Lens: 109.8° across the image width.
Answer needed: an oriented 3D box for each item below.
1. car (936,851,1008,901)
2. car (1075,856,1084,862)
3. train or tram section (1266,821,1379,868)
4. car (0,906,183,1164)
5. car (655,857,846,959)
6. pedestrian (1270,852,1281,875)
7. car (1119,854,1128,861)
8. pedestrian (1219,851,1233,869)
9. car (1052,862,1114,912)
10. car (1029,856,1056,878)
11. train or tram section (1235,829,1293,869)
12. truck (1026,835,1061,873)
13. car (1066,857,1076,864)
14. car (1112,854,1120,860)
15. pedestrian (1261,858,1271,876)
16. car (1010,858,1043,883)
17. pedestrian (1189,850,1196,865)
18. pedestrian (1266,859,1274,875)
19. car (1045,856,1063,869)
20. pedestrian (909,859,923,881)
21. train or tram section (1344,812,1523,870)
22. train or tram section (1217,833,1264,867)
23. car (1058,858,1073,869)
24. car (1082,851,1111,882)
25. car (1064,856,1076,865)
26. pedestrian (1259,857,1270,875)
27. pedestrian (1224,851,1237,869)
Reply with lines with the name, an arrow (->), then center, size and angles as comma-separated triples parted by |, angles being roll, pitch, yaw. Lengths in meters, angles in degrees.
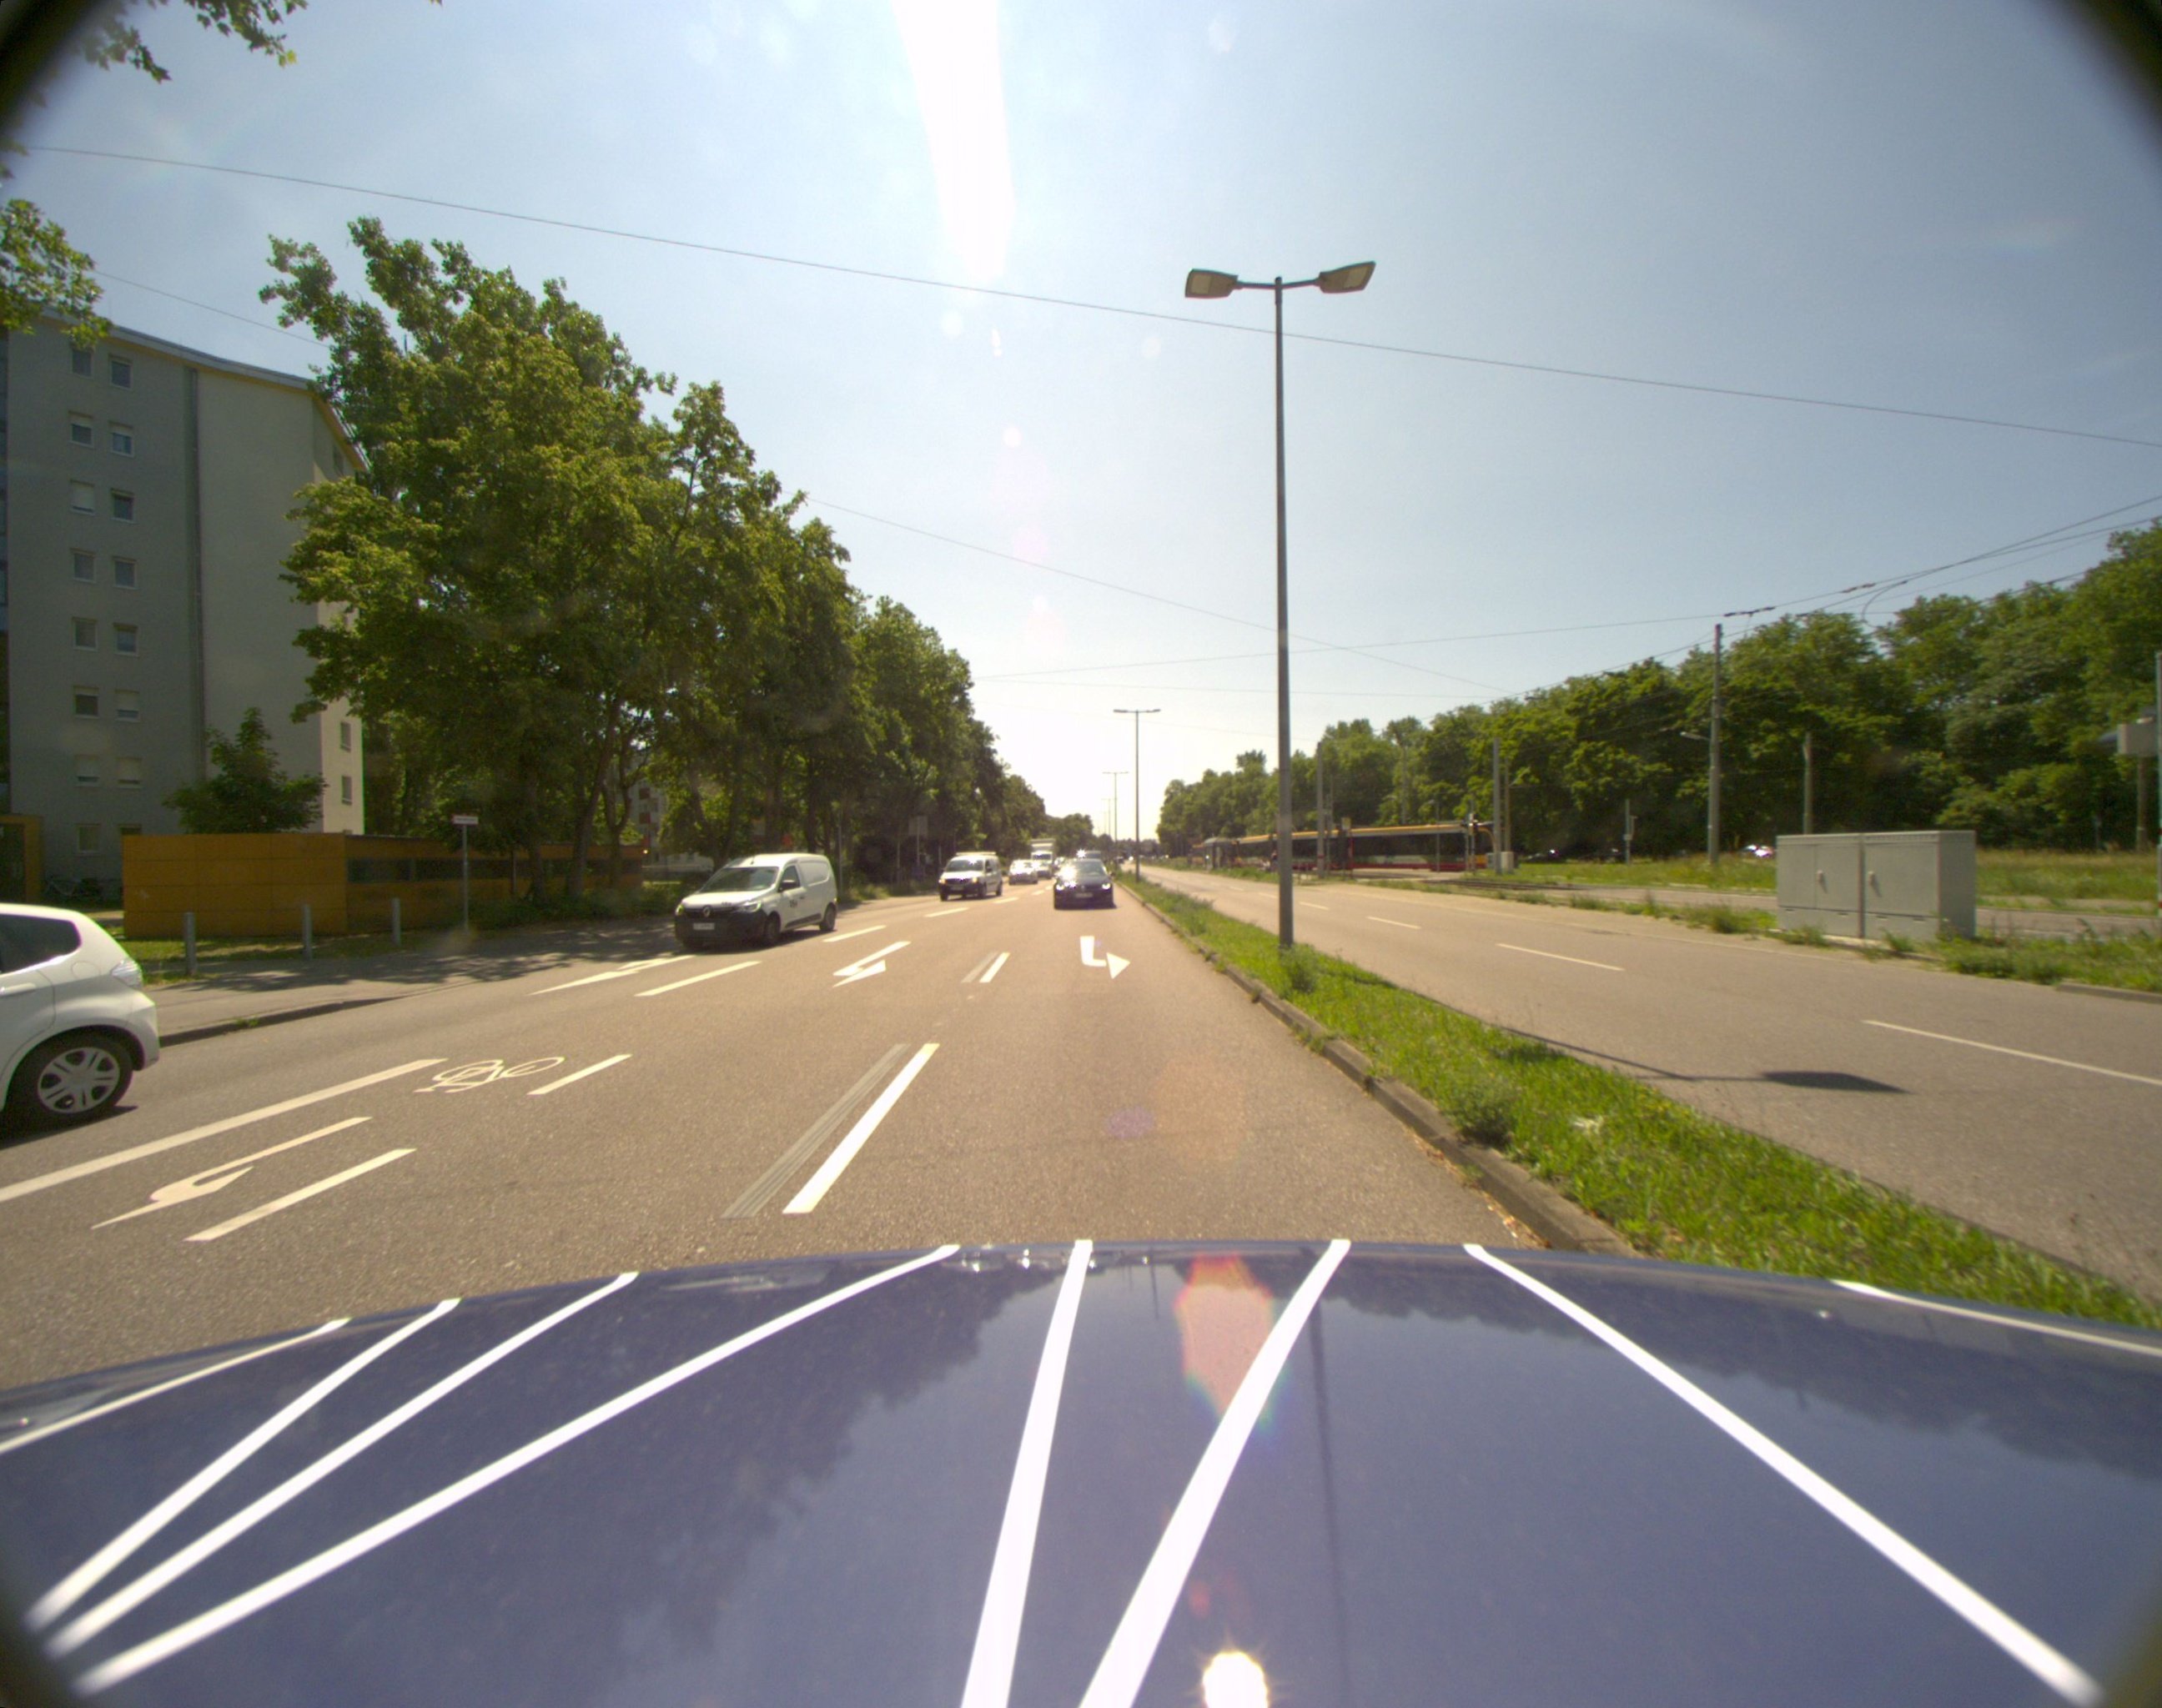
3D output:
car -> -4.400, 0.839, 31.492 | 1.809, 1.845, 5.084 | -3, 0, 5
car -> -0.354, 1.284, 186.964 | 1.745, 1.382, 3.888 | -1, 0, 4
train or tram section -> 20.591, -0.655, 66.049 | 3.055, 3.603, 12.436 | -3, 0, -15
car -> -7.337, 1.149, 3.509 | 1.725, 1.479, 3.878 | -3, 0, -1
car -> -6.577, 0.969, 15.747 | 1.713, 1.737, 4.428 | -3, 0, 4
pedestrian -> 13.004, 0.626, 50.809 | 0.536, 1.556, 0.582 | -3, 0, -1
car -> 8.911, 0.698, 160.834 | 1.773, 1.496, 3.720 | -1, 0, 1
pedestrian -> 12.923, 0.545, 67.640 | 0.933, 1.537, 0.985 | -3, 0, -2
car -> 0.094, 0.962, 23.601 | 1.746, 1.382, 3.887 | 0, 0, 1
car -> -2.808, 0.937, 55.754 | 1.618, 1.373, 4.113 | -2, 2, 2
train or tram section -> 18.754, -0.476, 78.778 | 3.051, 3.603, 13.899 | -3, 0, 2
truck -> -3.333, -0.013, 69.273 | 2.489, 3.276, 6.605 | -1, 0, 3
car -> -2.040, 1.416, 156.948 | 1.745, 1.382, 3.888 | -1, 0, 4
car -> 8.513, 0.650, 183.703 | 1.773, 1.496, 3.721 | -1, 0, 5
pedestrian -> 12.573, 0.906, 51.652 | 0.495, 1.182, 0.400 | -3, 0, 2
car -> -3.352, 1.021, 47.409 | 1.626, 1.433, 3.499 | -2, 0, 2
pedestrian -> 12.998, 0.387, 88.831 | 0.633, 1.780, 0.776 | -3, 0, -1
pedestrian -> 12.757, 0.898, 51.311 | 0.384, 1.052, 0.377 | -3, 0, -1
car -> -2.949, 0.889, 83.738 | 1.746, 1.382, 3.887 | -1, 0, 1
pedestrian -> -10.994, 1.048, 50.669 | 0.710, 1.390, 0.763 | -3, 0, 2
train or tram section -> 24.990, -0.765, 55.126 | 3.057, 3.603, 12.426 | -3, 0, -27
train or tram section -> 19.174, -0.412, 92.387 | 3.051, 3.745, 13.262 | -3, 0, 1
car -> -2.009, 1.234, 98.590 | 1.618, 1.373, 4.115 | -2, 0, 2
car -> 0.997, 0.755, 48.597 | 1.746, 1.840, 3.887 | -1, 0, 1
car -> -1.672, 0.983, 119.930 | 1.746, 1.382, 3.887 | -1, 0, 1
pedestrian -> 12.588, 0.820, 52.207 | 0.582, 1.182, 0.536 | -3, 0, 0
pedestrian -> 13.122, 0.528, 66.678 | 0.836, 1.499, 0.879 | -3, 0, -1
